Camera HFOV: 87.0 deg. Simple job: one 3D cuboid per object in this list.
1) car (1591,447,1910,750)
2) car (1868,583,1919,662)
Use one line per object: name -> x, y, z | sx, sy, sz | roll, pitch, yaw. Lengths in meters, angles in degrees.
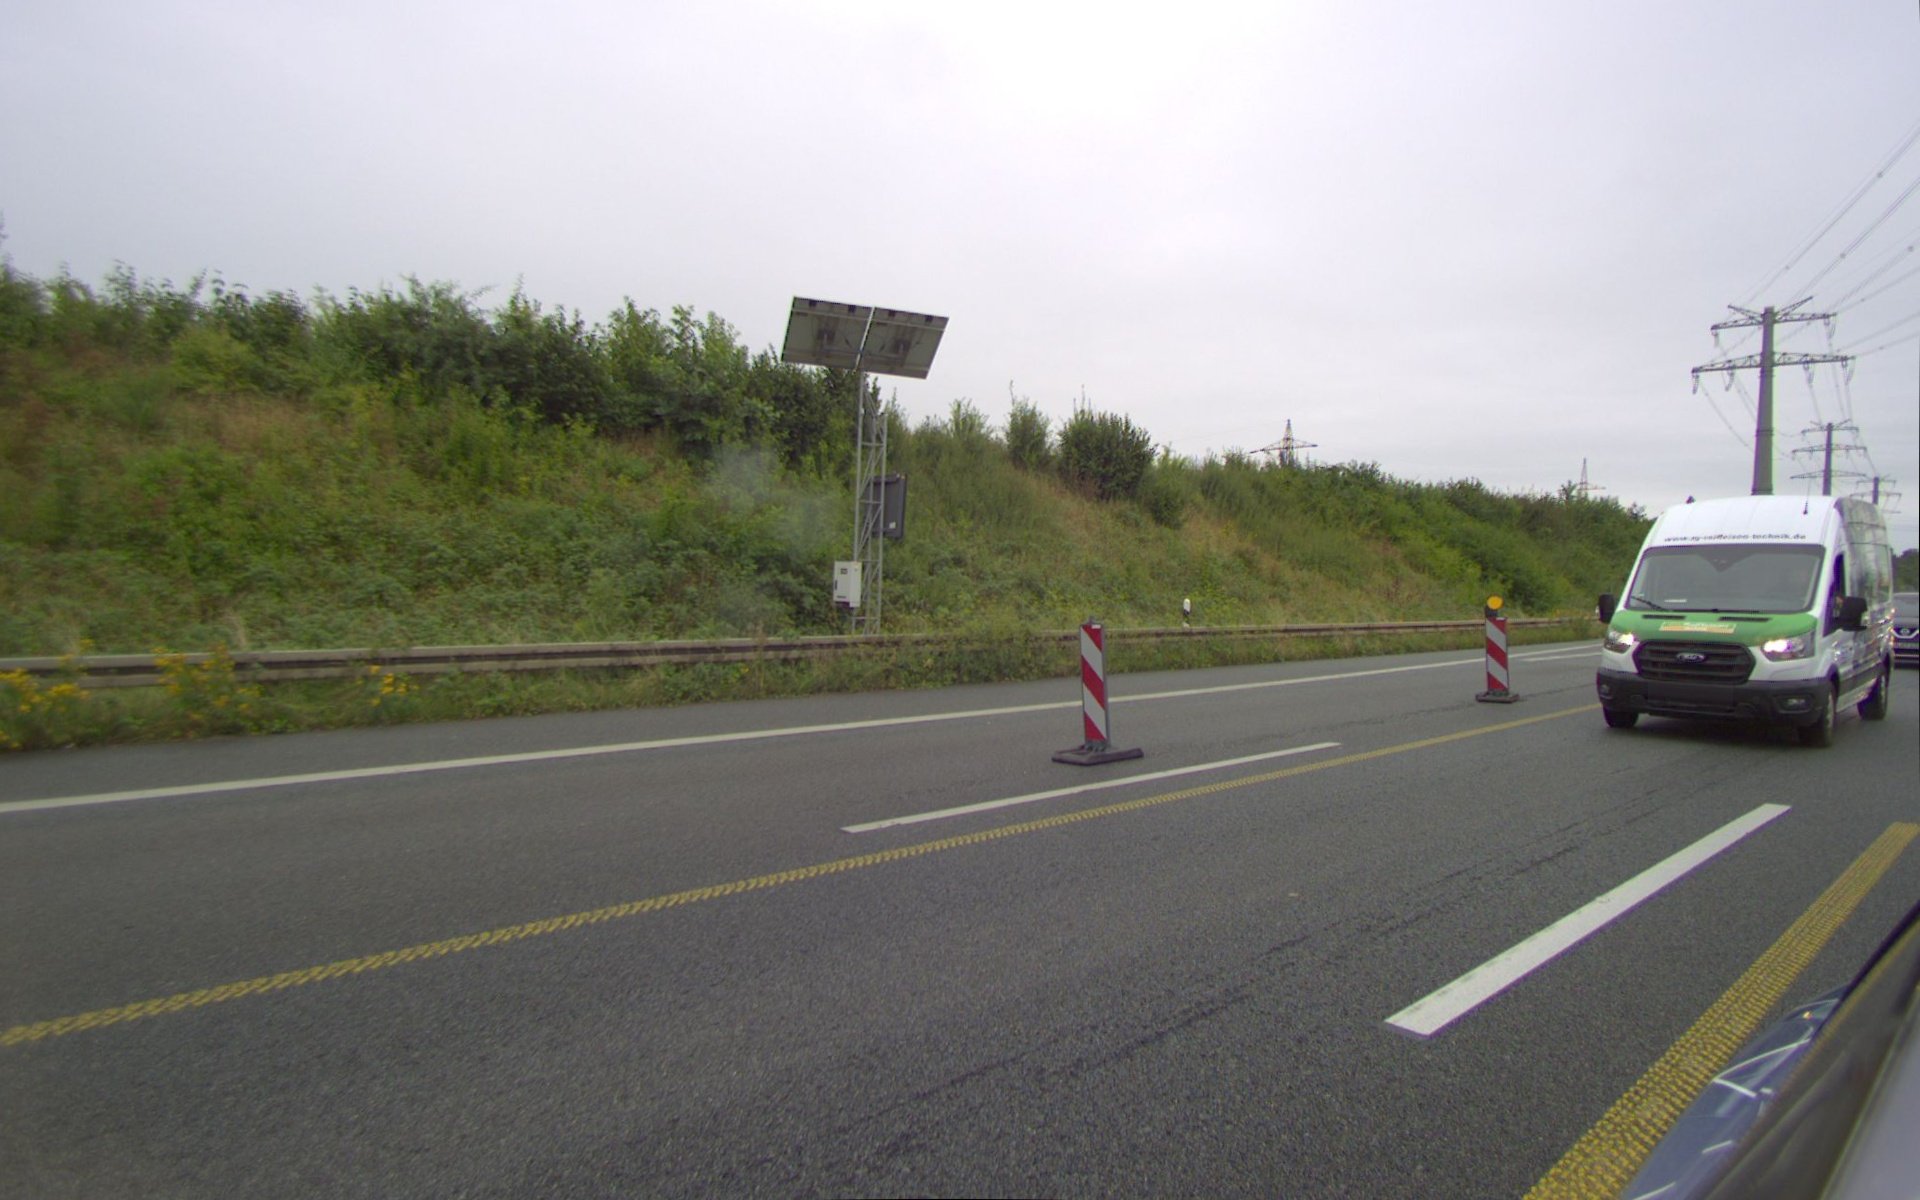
car -> 9.586, -0.035, 12.043 | 5.656, 2.817, 1.997 | 0, 1, -42
car -> 22.039, 0.479, 22.820 | 4.203, 1.679, 1.688 | 0, 1, -39
